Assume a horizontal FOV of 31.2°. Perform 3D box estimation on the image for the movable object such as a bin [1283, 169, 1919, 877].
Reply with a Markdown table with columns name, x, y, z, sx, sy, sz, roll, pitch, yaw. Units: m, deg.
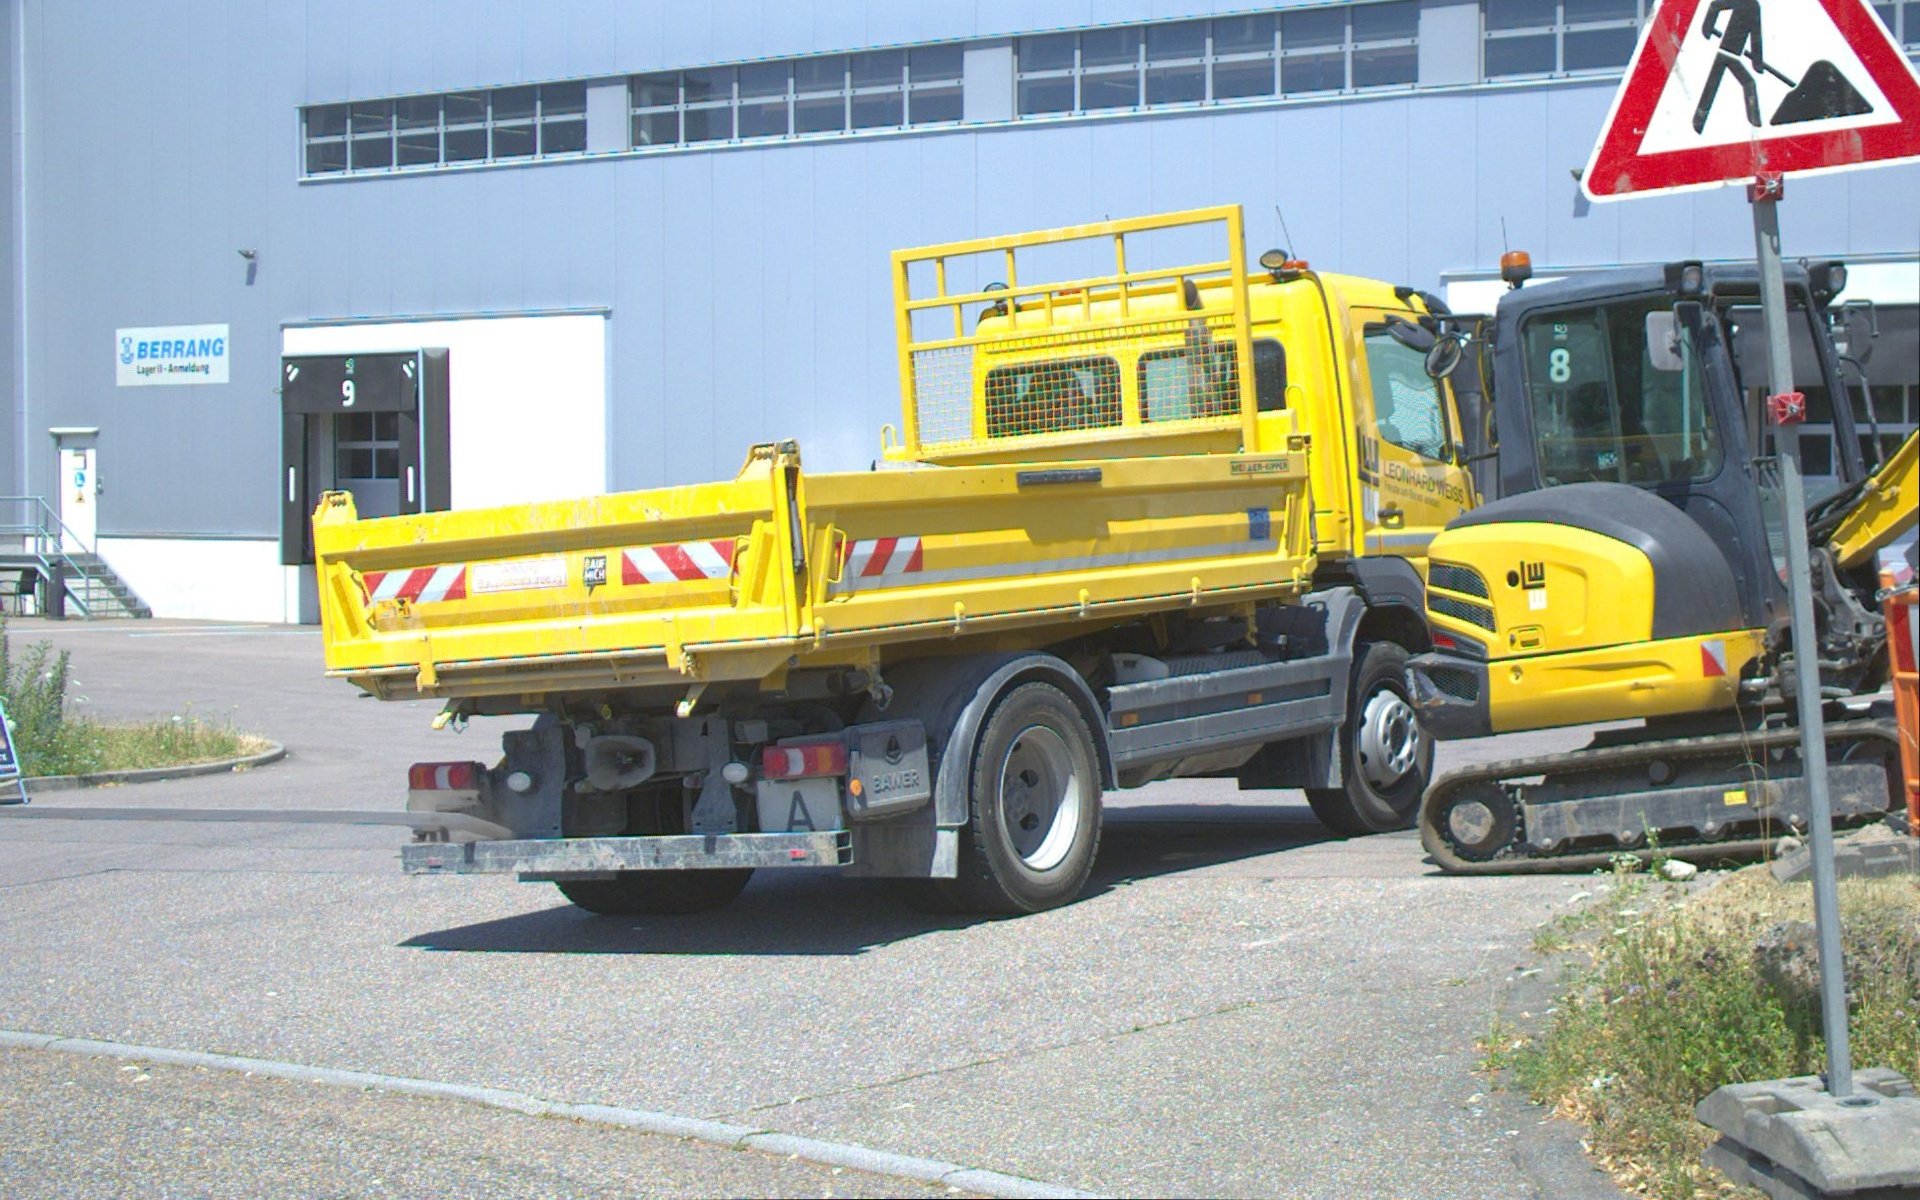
| name | x | y | z | sx | sy | sz | roll | pitch | yaw |
| --- | --- | --- | --- | --- | --- | --- | --- | --- | --- |
| movable object such as a bin | 4.474 | -0.304 | 12.963 | 6.572 | 2.572 | 1.995 | -2 | 0 | 43 |

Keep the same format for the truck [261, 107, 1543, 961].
| name | x | y | z | sx | sy | sz | roll | pitch | yaw |
| --- | --- | --- | --- | --- | --- | --- | --- | --- | --- |
| truck | 0.098 | -0.384 | 15.956 | 2.592 | 3.125 | 6.413 | -2 | 2 | 34 |
